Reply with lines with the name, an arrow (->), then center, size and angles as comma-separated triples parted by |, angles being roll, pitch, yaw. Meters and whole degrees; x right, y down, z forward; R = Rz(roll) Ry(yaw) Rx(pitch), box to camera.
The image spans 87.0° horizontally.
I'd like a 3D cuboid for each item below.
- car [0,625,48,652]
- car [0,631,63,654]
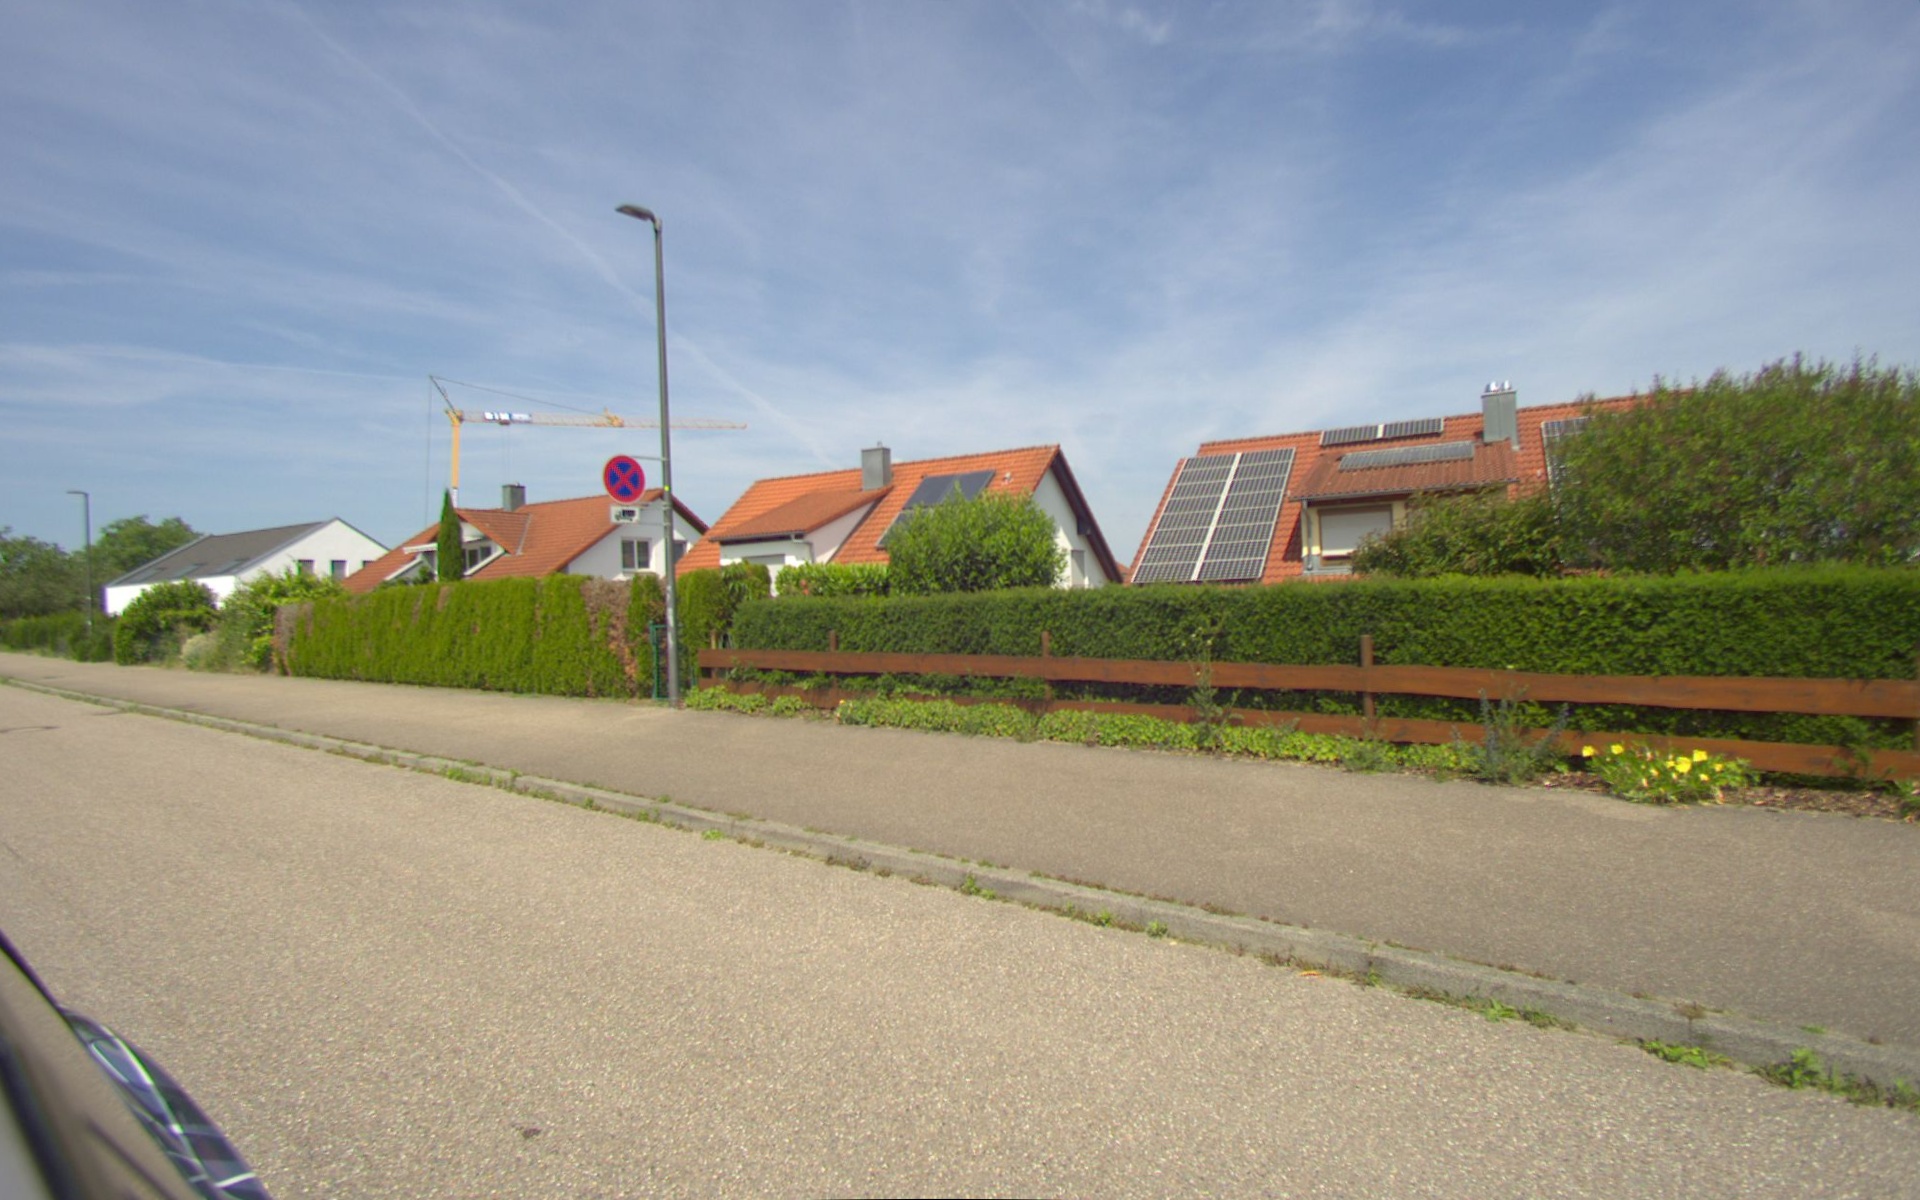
car -> -67.979, 2.787, 72.515 | 1.801, 1.826, 3.832 | -2, 0, 45
car -> -61.818, 2.824, 66.807 | 1.801, 1.331, 3.832 | -2, 0, 45
